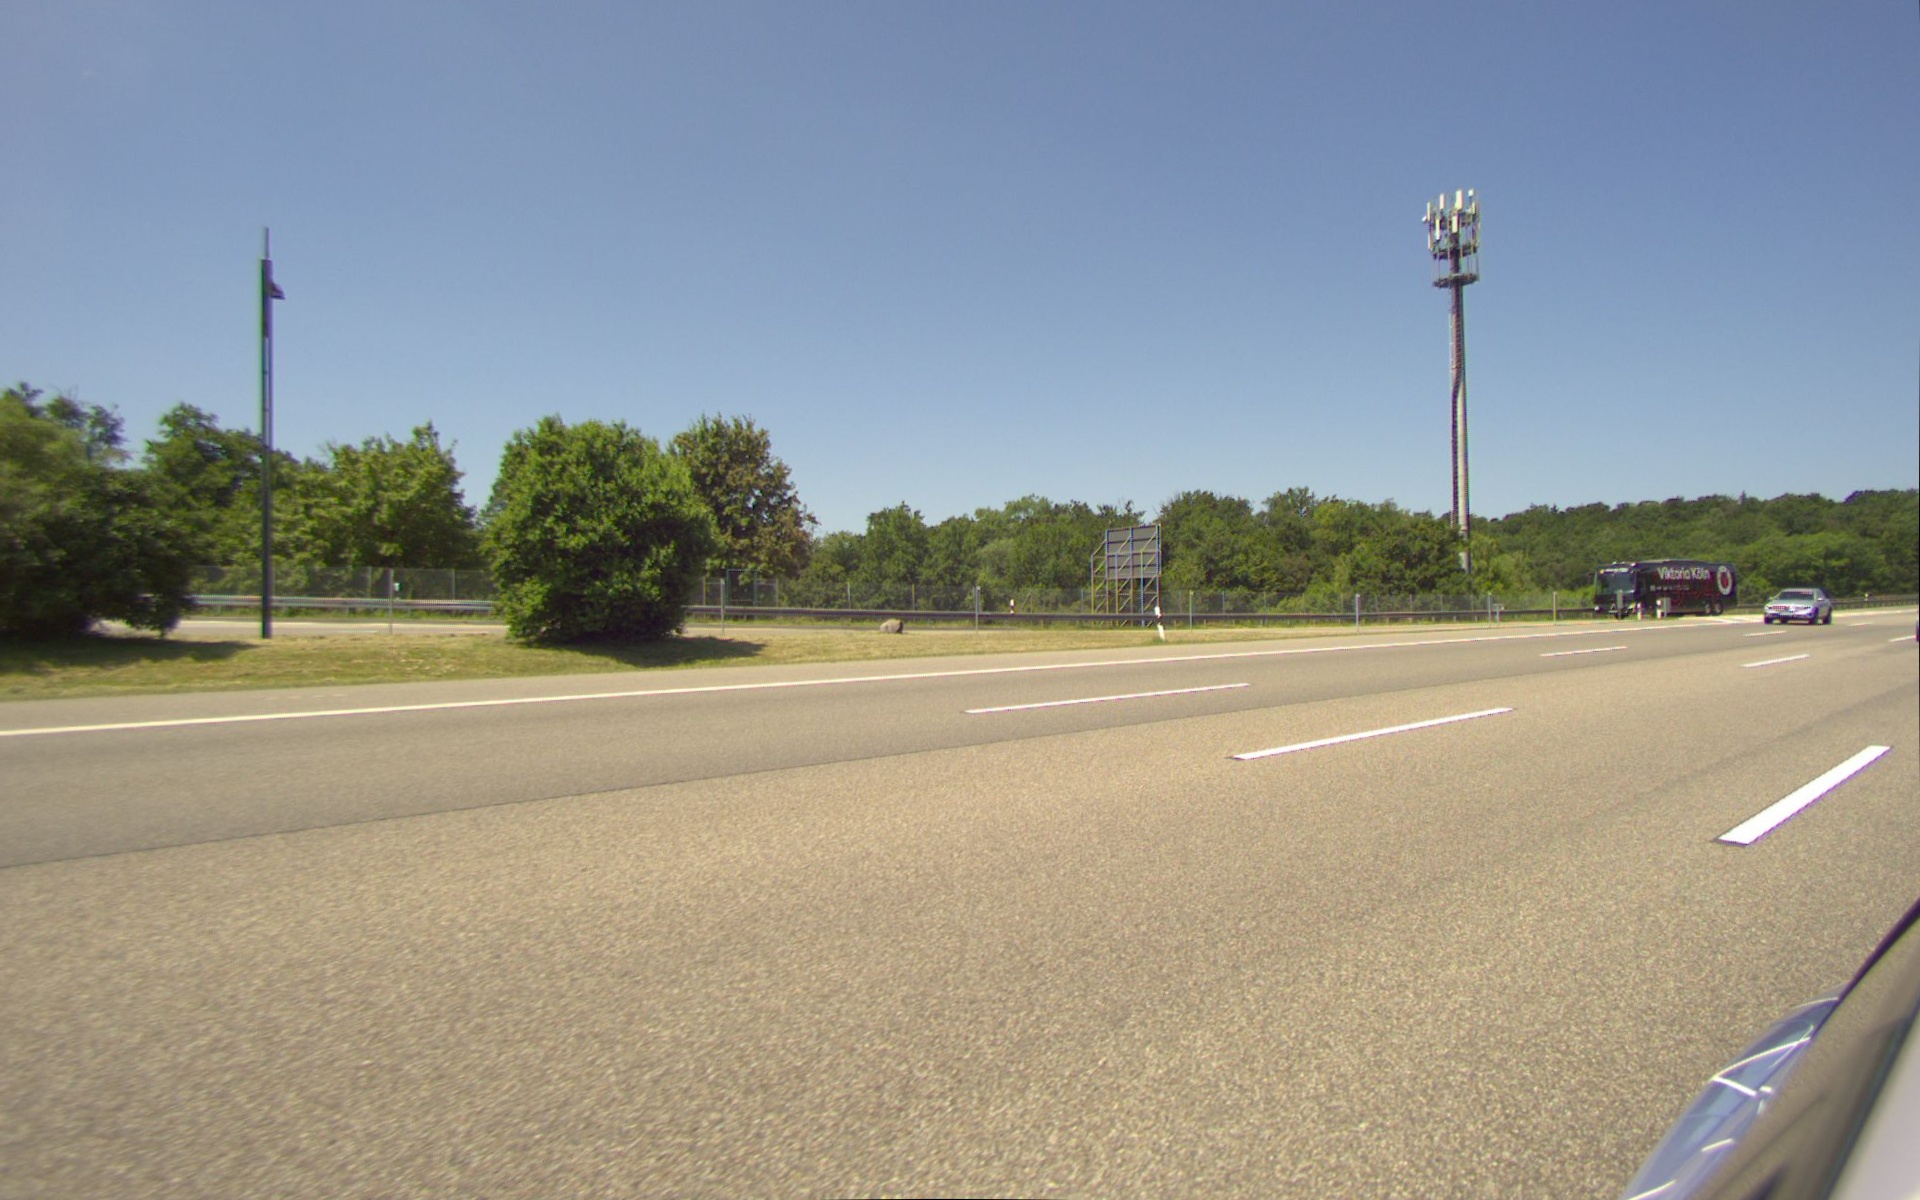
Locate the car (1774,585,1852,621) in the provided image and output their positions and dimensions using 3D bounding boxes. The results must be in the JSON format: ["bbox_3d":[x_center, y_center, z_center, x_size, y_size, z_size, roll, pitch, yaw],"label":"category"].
[{"bbox_3d":[38.983,0.106,46.234,3.927,1.549,1.999,0,1,-38],"label":"car"}]

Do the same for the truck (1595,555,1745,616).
[{"bbox_3d":[45.121,-0.914,64.120,12.076,3.616,2.757,-1,0,-29],"label":"truck"}]
